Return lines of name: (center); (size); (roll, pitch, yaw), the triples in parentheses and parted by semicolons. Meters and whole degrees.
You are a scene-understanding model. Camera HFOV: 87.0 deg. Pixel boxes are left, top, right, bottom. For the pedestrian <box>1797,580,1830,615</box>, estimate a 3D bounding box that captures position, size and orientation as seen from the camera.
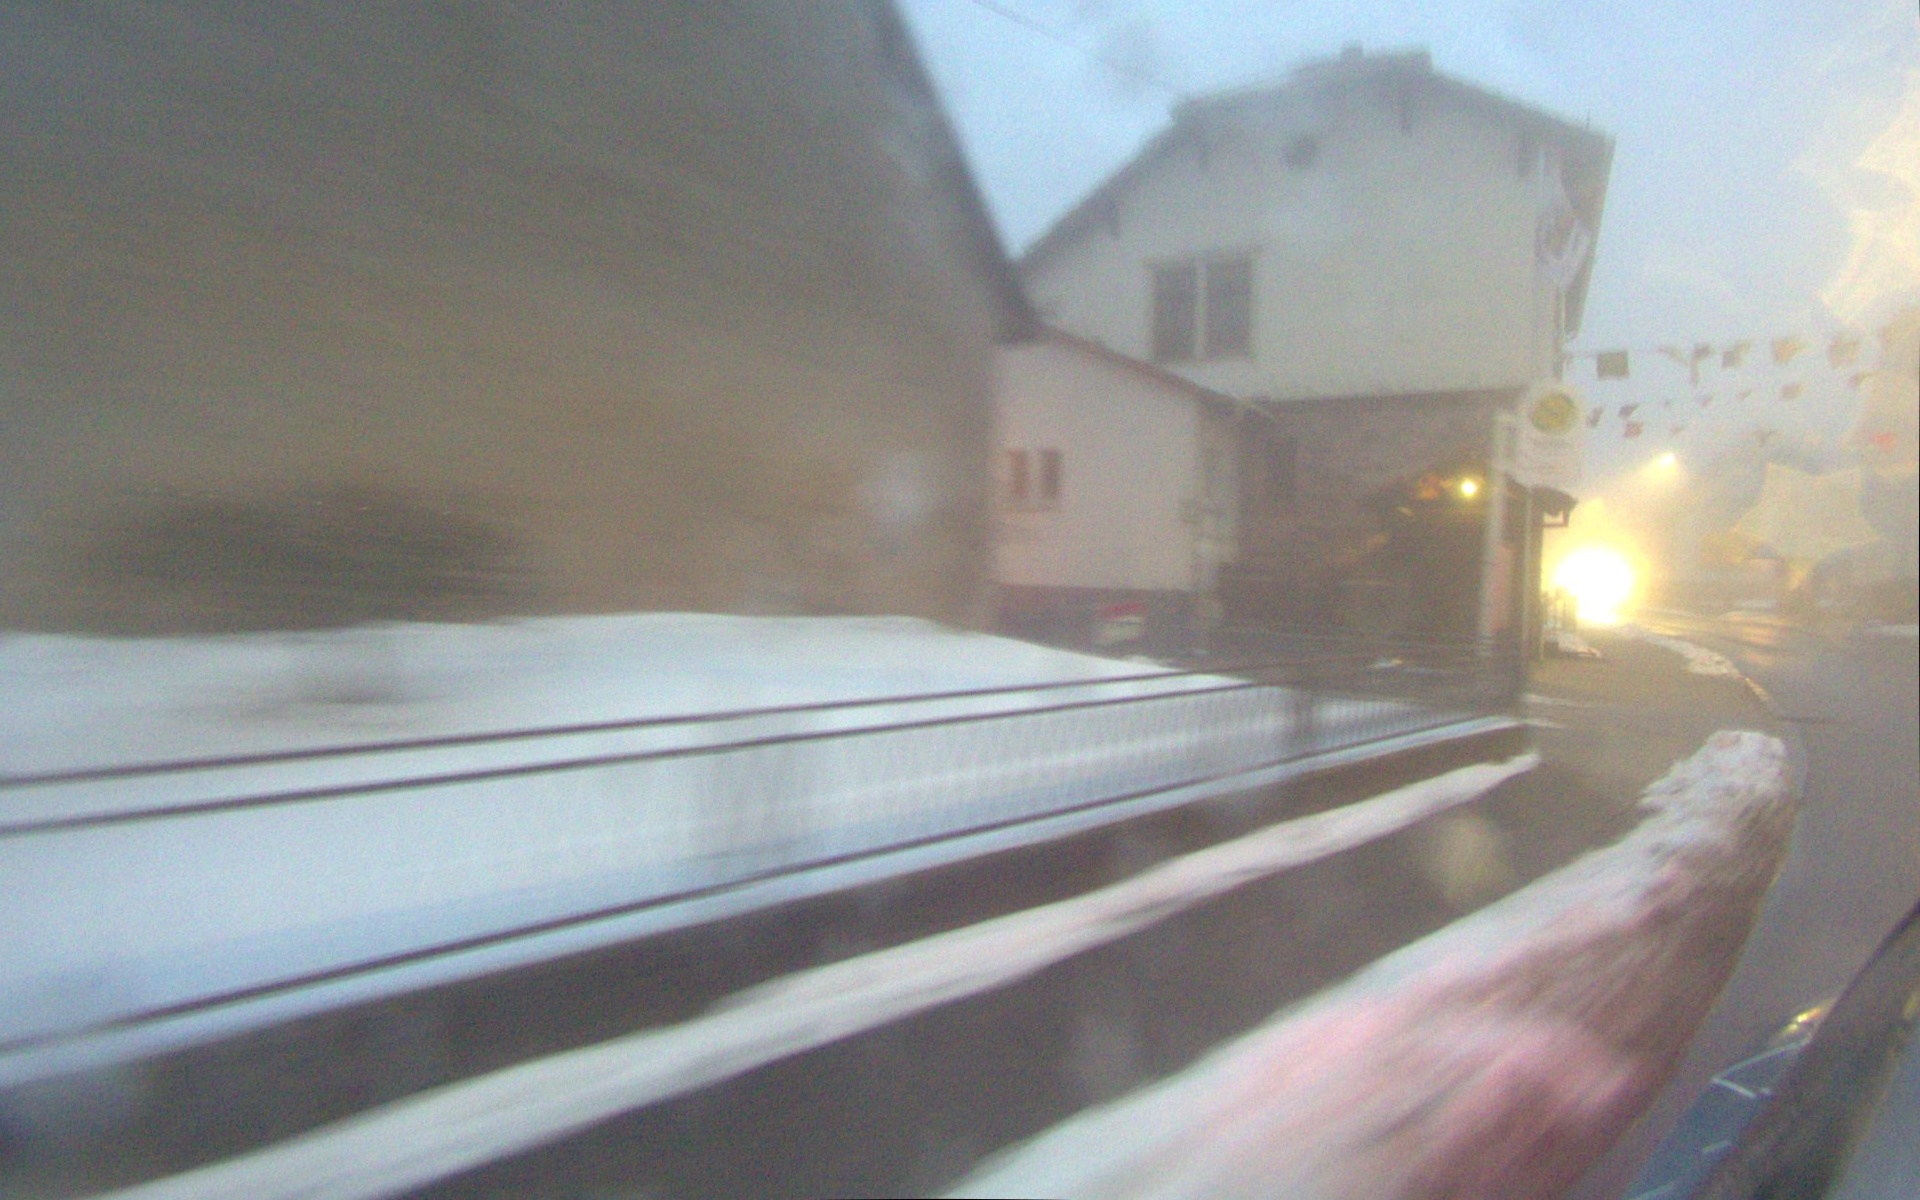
pedestrian: (33.005, -0.097, 39.140); (0.802, 1.346, 0.655); (0, 1, 25)
